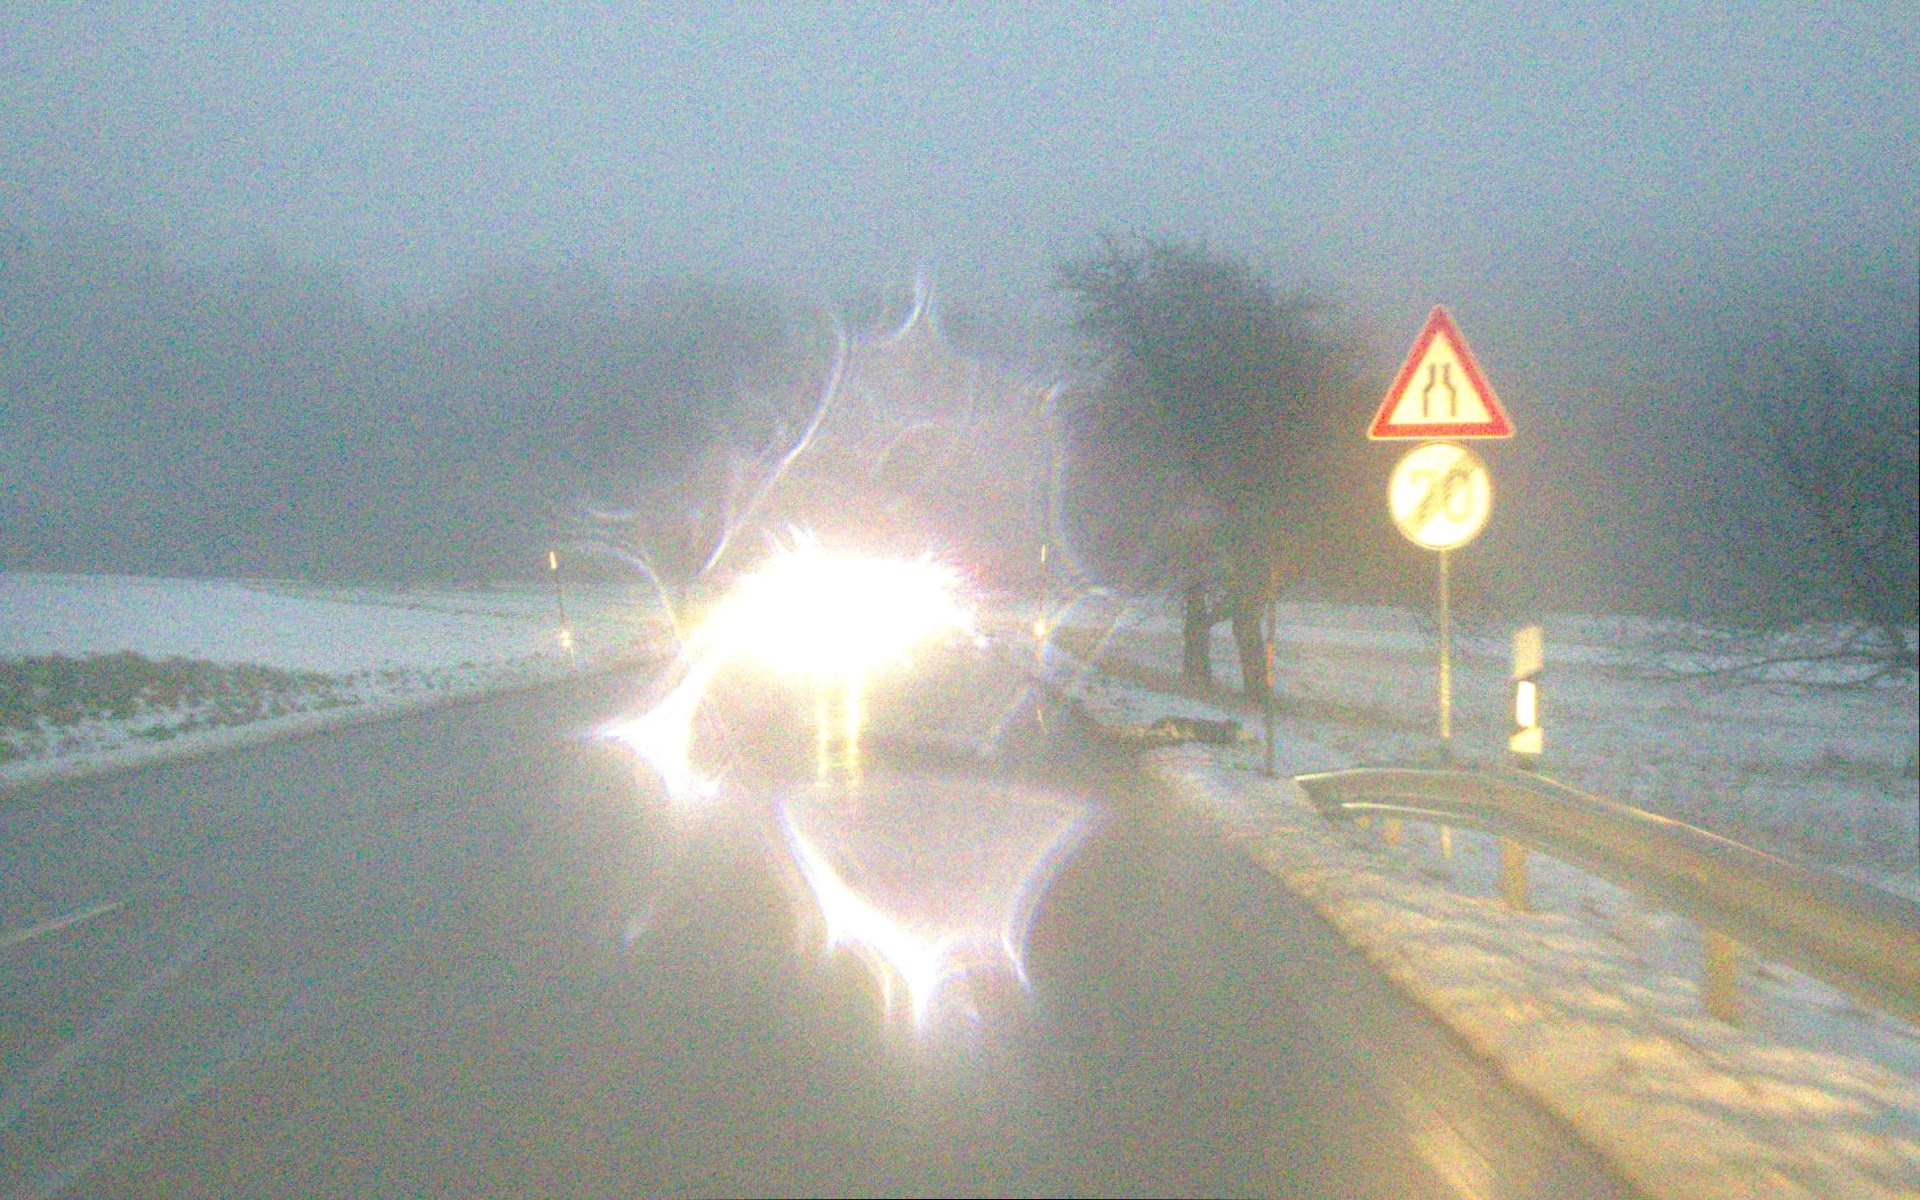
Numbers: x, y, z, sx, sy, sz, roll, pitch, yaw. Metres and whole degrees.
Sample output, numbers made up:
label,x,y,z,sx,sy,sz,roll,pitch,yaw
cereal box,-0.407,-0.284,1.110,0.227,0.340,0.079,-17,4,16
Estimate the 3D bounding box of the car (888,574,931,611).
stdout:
label,x,y,z,sx,sy,sz,roll,pitch,yaw
car,-2.264,-0.356,155.290,1.692,1.546,3.856,1,2,3
